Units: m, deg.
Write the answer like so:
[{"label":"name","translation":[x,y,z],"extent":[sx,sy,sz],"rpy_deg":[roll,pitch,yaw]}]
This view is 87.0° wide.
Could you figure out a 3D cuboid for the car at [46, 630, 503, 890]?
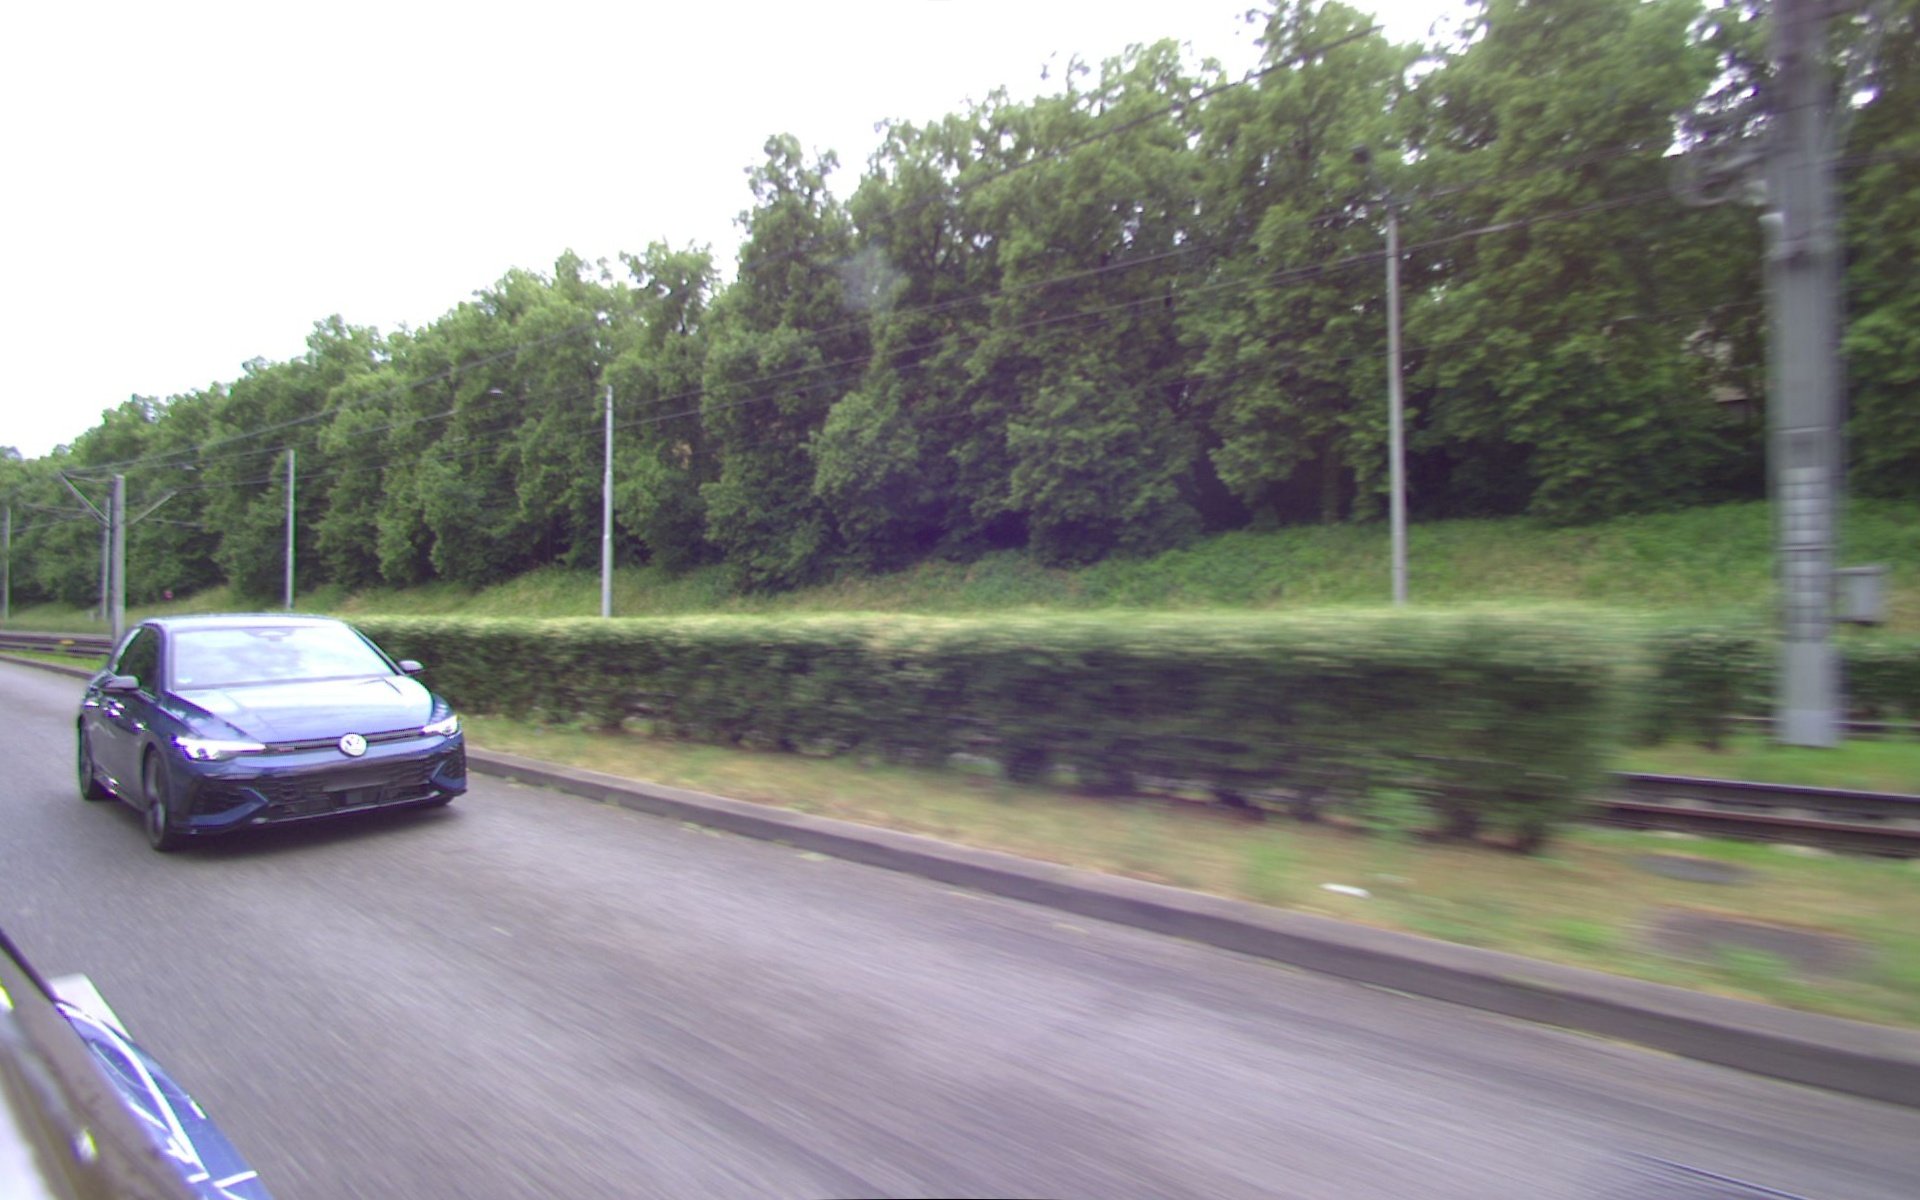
[{"label":"car","translation":[-5.354,0.959,7.658],"extent":[4.344,1.389,1.789],"rpy_deg":[-2,-2,41]}]

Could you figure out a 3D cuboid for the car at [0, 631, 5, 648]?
[{"label":"car","translation":[-84.243,3.415,87.079],"extent":[4.416,1.442,1.978],"rpy_deg":[-1,-2,32]}]
